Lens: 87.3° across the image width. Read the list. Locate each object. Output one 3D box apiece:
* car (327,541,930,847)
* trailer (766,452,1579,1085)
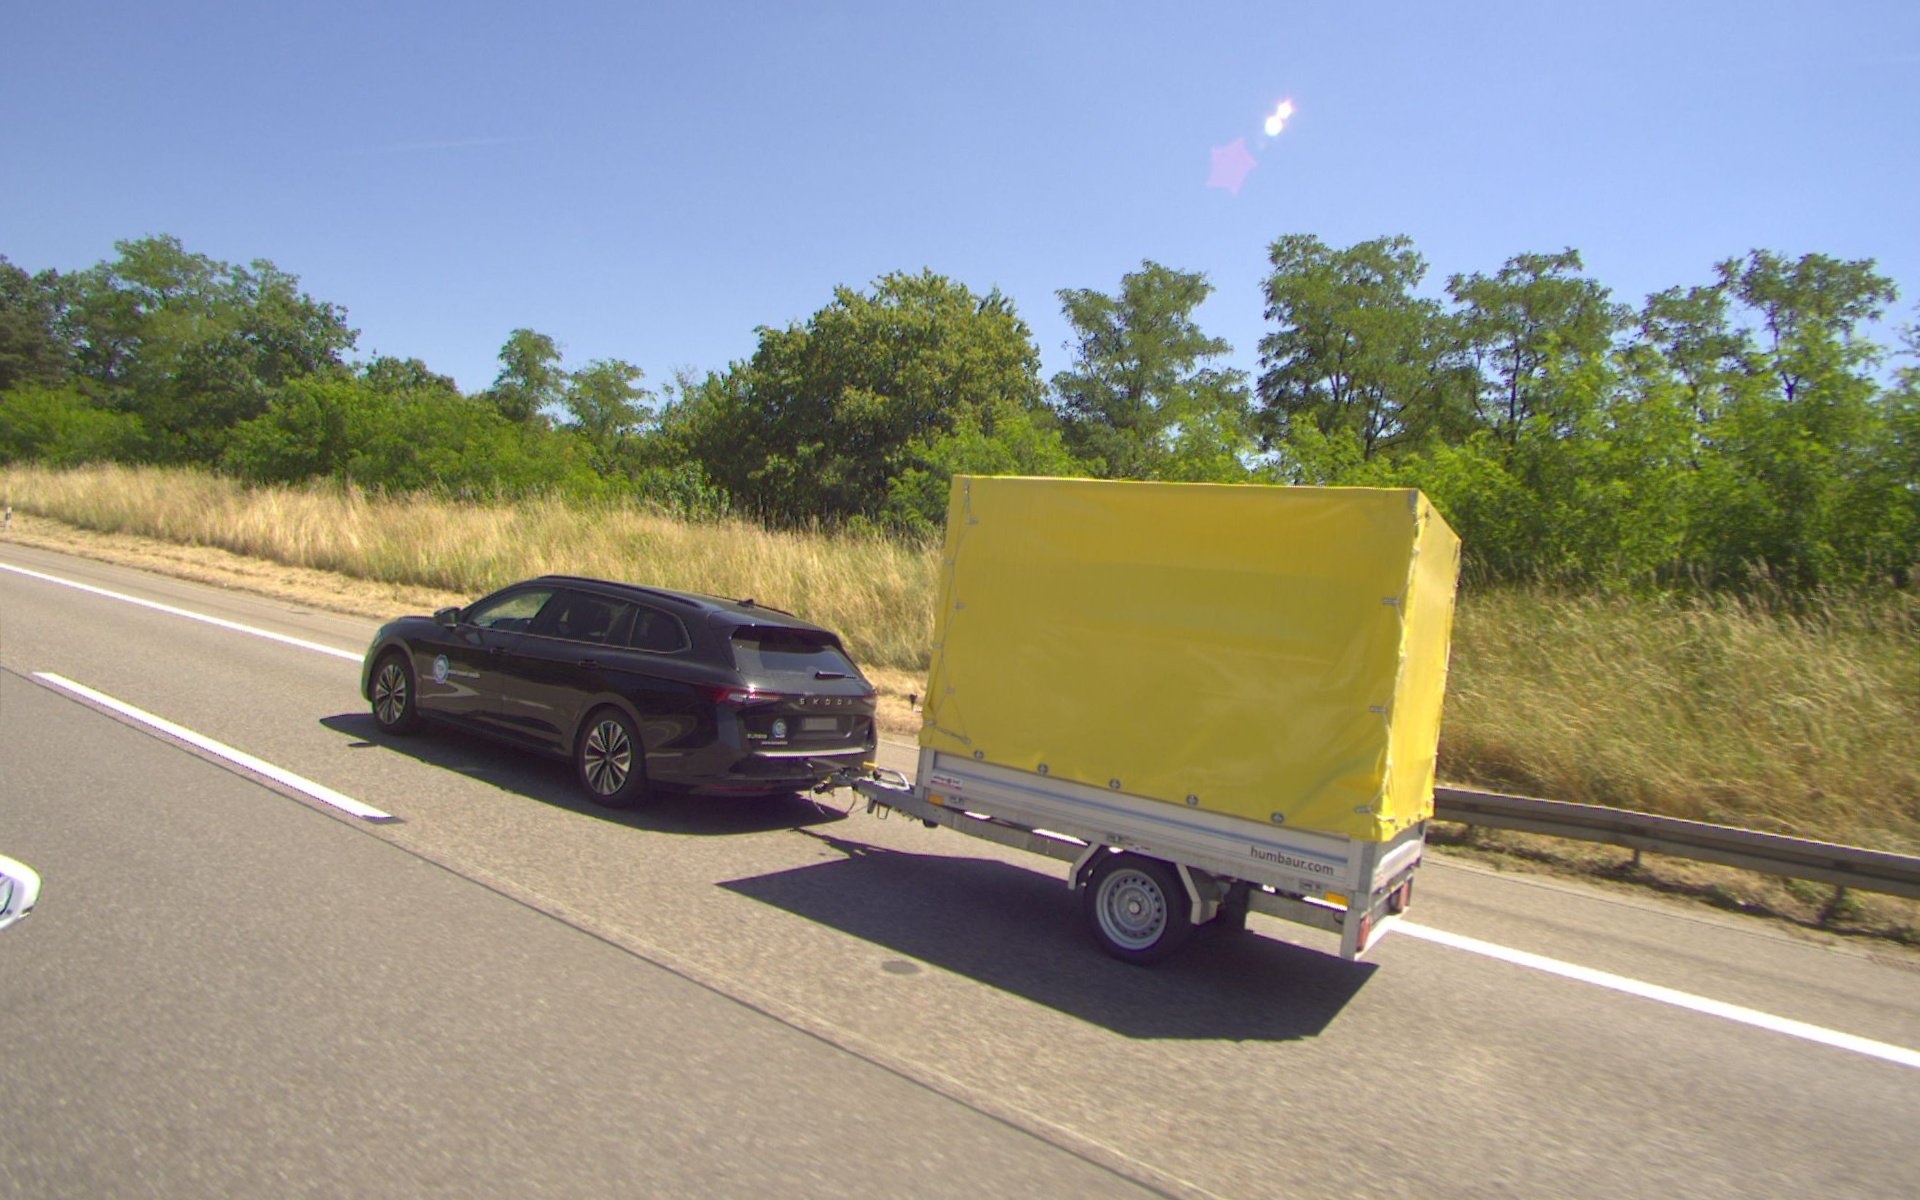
[{"bbox_3d":[-2.752,0.552,7.875,4.710,1.473,1.824,7,-1,33],"label":"car"},{"bbox_3d":[1.038,0.557,5.512,3.777,2.317,1.705,7,-1,33],"label":"trailer"}]
